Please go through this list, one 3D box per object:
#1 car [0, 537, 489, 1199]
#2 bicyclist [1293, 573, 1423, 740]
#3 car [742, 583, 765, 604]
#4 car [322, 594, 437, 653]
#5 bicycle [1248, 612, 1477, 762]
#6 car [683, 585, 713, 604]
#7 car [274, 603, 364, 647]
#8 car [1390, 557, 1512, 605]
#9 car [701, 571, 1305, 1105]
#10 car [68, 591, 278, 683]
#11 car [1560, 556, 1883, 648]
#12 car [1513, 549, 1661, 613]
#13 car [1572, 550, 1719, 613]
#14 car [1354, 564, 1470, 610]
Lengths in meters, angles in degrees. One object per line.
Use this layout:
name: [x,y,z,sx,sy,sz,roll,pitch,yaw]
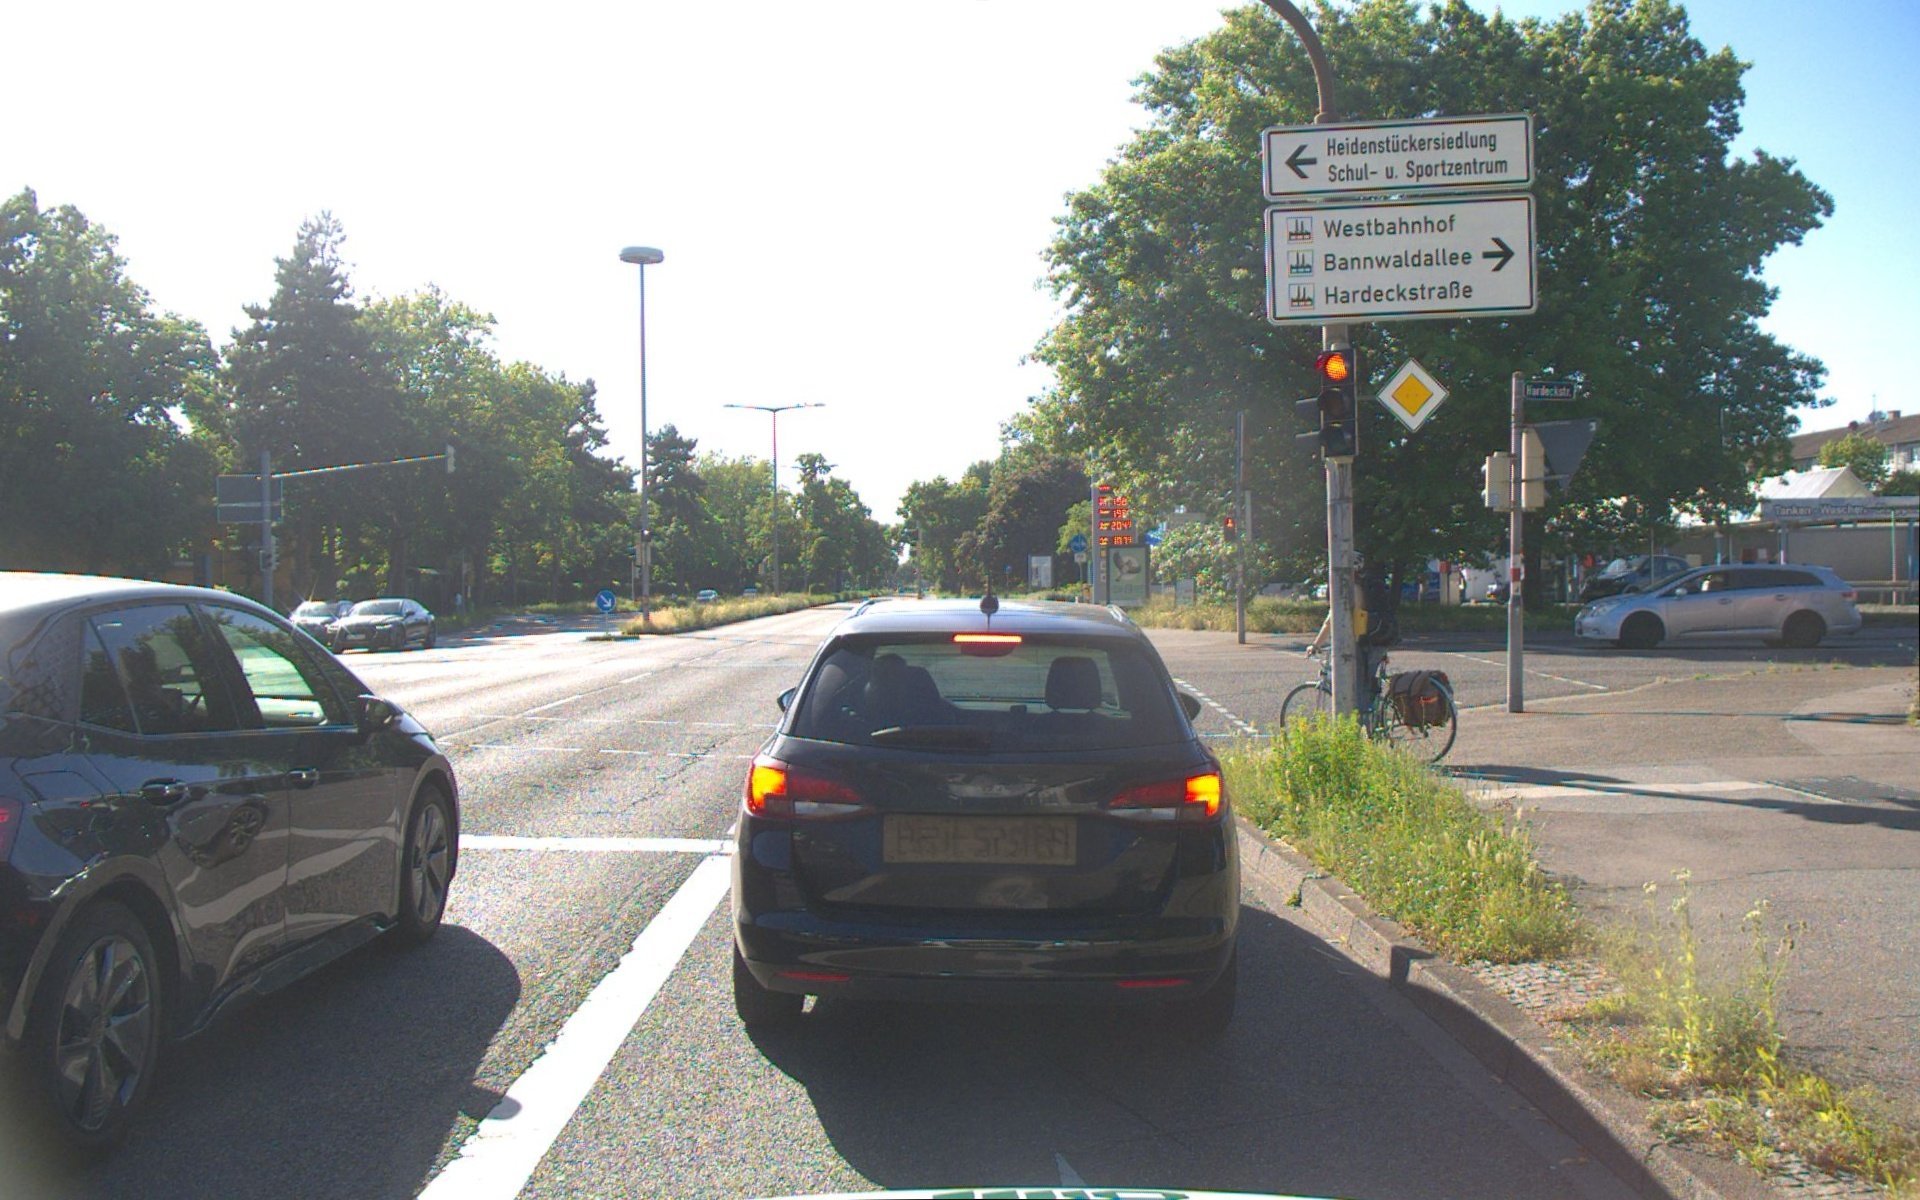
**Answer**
car: [-3.002,0.661,5.607,1.650,1.608,4.206,0,0,-1]
bicyclist: [3.213,0.456,13.373,0.534,1.299,0.816,-2,-2,-44]
car: [-21.827,-0.698,175.174,1.953,2.049,3.999,-2,0,-1]
car: [-15.980,0.617,45.724,1.740,1.488,4.164,-1,0,-1]
bicycle: [3.223,0.702,13.373,0.533,1.117,1.748,-2,-2,-44]
car: [-22.369,-0.468,141.324,1.953,1.556,3.999,-2,0,-1]
car: [-19.616,0.737,50.722,1.361,1.256,3.635,-1,0,-1]
car: [16.907,-0.655,56.986,3.837,1.544,1.732,-2,0,-24]
car: [0.098,0.687,6.839,1.721,1.521,4.206,0,0,-1]
car: [-15.398,0.667,32.665,1.953,1.629,4.615,-1,0,-1]
car: [13.536,0.030,29.705,4.897,1.512,2.002,-1,0,11]
car: [18.952,-0.577,50.011,3.935,1.780,1.985,-2,1,-24]
car: [19.987,-0.537,48.197,3.934,1.709,1.732,-2,0,-24]
car: [16.431,-0.468,60.062,3.837,1.544,1.732,-2,0,-24]
